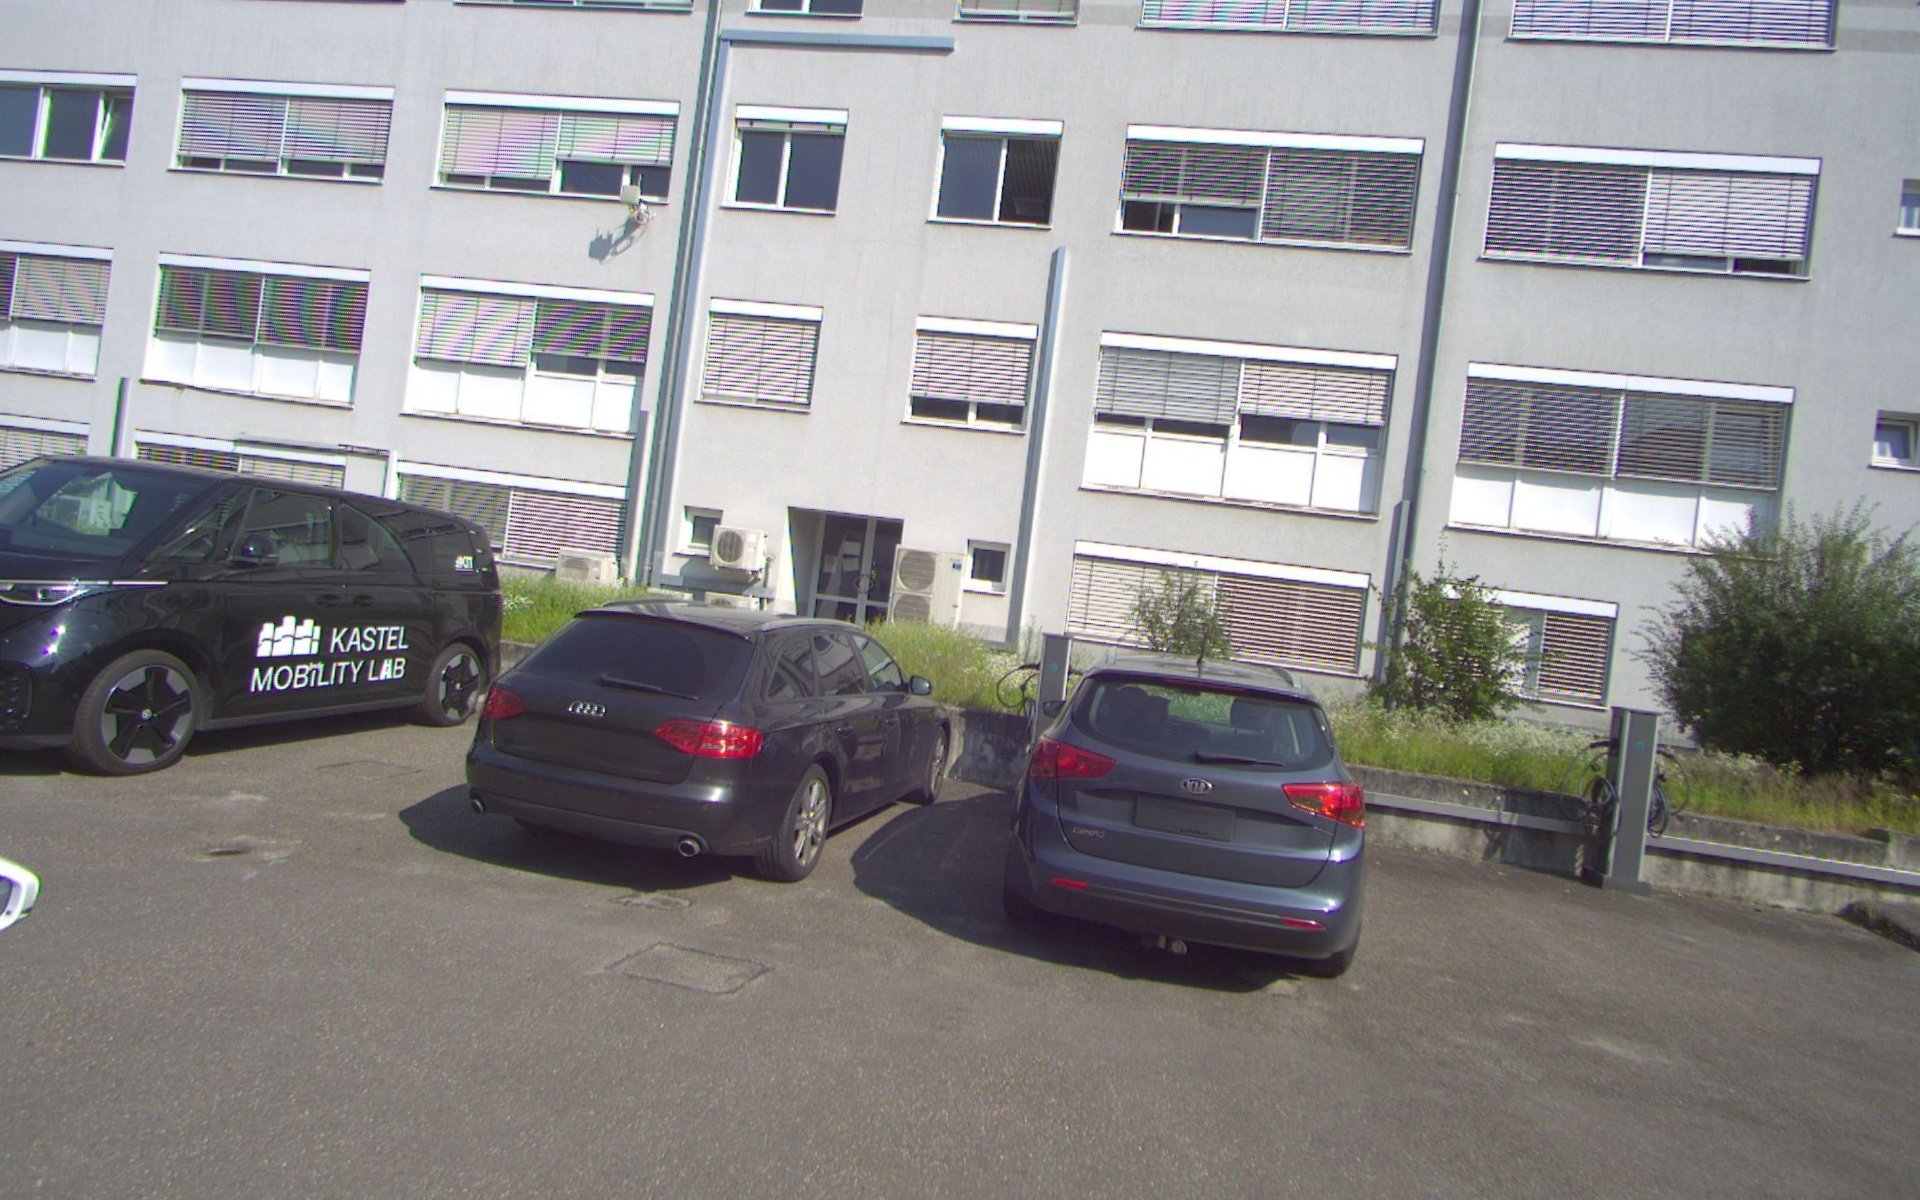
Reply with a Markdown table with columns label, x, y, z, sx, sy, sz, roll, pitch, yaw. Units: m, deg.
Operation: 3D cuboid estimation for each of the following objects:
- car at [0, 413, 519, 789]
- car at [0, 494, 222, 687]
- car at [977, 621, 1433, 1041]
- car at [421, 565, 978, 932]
| label | x | y | z | sx | sy | sz | roll | pitch | yaw |
| --- | --- | --- | --- | --- | --- | --- | --- | --- | --- |
| car | -5.398 | -0.025 | 7.347 | 1.878 | 1.881 | 4.352 | 8 | -1 | 6 |
| car | -8.174 | -0.167 | 7.886 | 1.632 | 1.483 | 3.911 | 8 | -1 | 3 |
| car | 1.386 | 1.045 | 6.271 | 1.709 | 1.495 | 4.064 | 8 | -1 | 11 |
| car | -1.238 | 0.773 | 6.770 | 1.658 | 1.454 | 4.250 | 8 | -1 | 14 |
